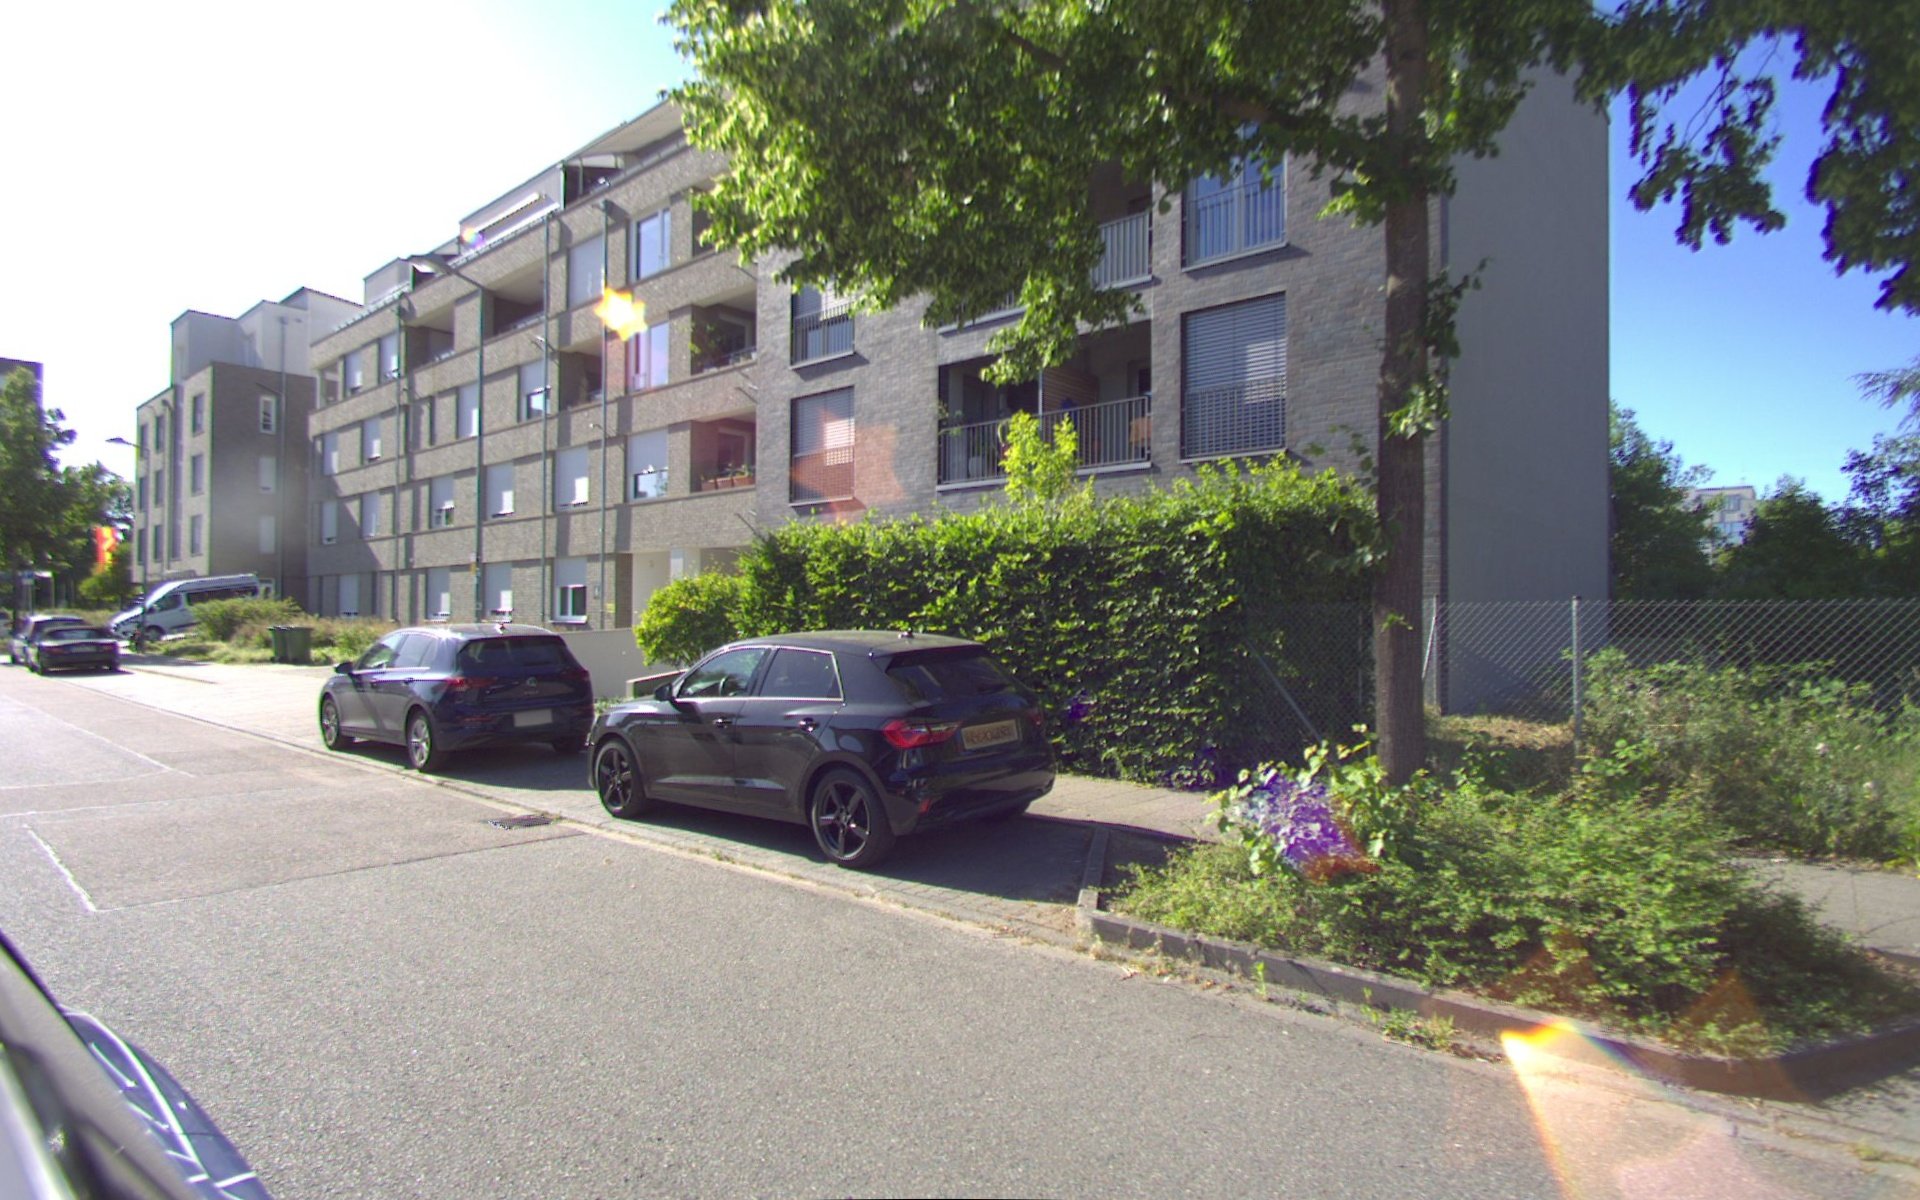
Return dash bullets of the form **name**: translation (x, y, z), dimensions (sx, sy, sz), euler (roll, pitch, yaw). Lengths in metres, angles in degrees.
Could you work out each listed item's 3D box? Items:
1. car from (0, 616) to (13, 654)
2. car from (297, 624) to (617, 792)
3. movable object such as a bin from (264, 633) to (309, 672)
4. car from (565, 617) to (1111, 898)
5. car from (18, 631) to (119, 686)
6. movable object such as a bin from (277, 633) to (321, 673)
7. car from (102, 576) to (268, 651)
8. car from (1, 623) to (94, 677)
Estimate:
- **car**: translation (-42.576, 1.489, 43.806), dimensions (3.885, 1.611, 1.773), euler (-1, -1, 39)
- **car**: translation (-5.814, 1.053, 11.491), dimensions (4.097, 1.485, 1.821), euler (-1, 0, 41)
- **movable object such as a bin**: translation (-19.353, 1.509, 29.085), dimensions (0.680, 1.045, 0.910), euler (-1, 1, 38)
- **car**: translation (-1.080, 0.895, 7.558), dimensions (4.025, 1.485, 1.821), euler (-1, 0, 41)
- **car**: translation (-23.754, 1.513, 26.929), dimensions (3.561, 1.257, 1.610), euler (-1, 0, 42)
- **movable object such as a bin**: translation (-18.720, 1.487, 28.675), dimensions (0.677, 1.045, 0.852), euler (-1, 1, 38)
- **car**: translation (-32.116, 0.578, 42.082), dimensions (2.011, 2.924, 5.091), euler (-1, -2, 37)
- **car**: translation (-27.611, 1.470, 30.581), dimensions (3.560, 1.536, 1.610), euler (-1, -2, 40)
